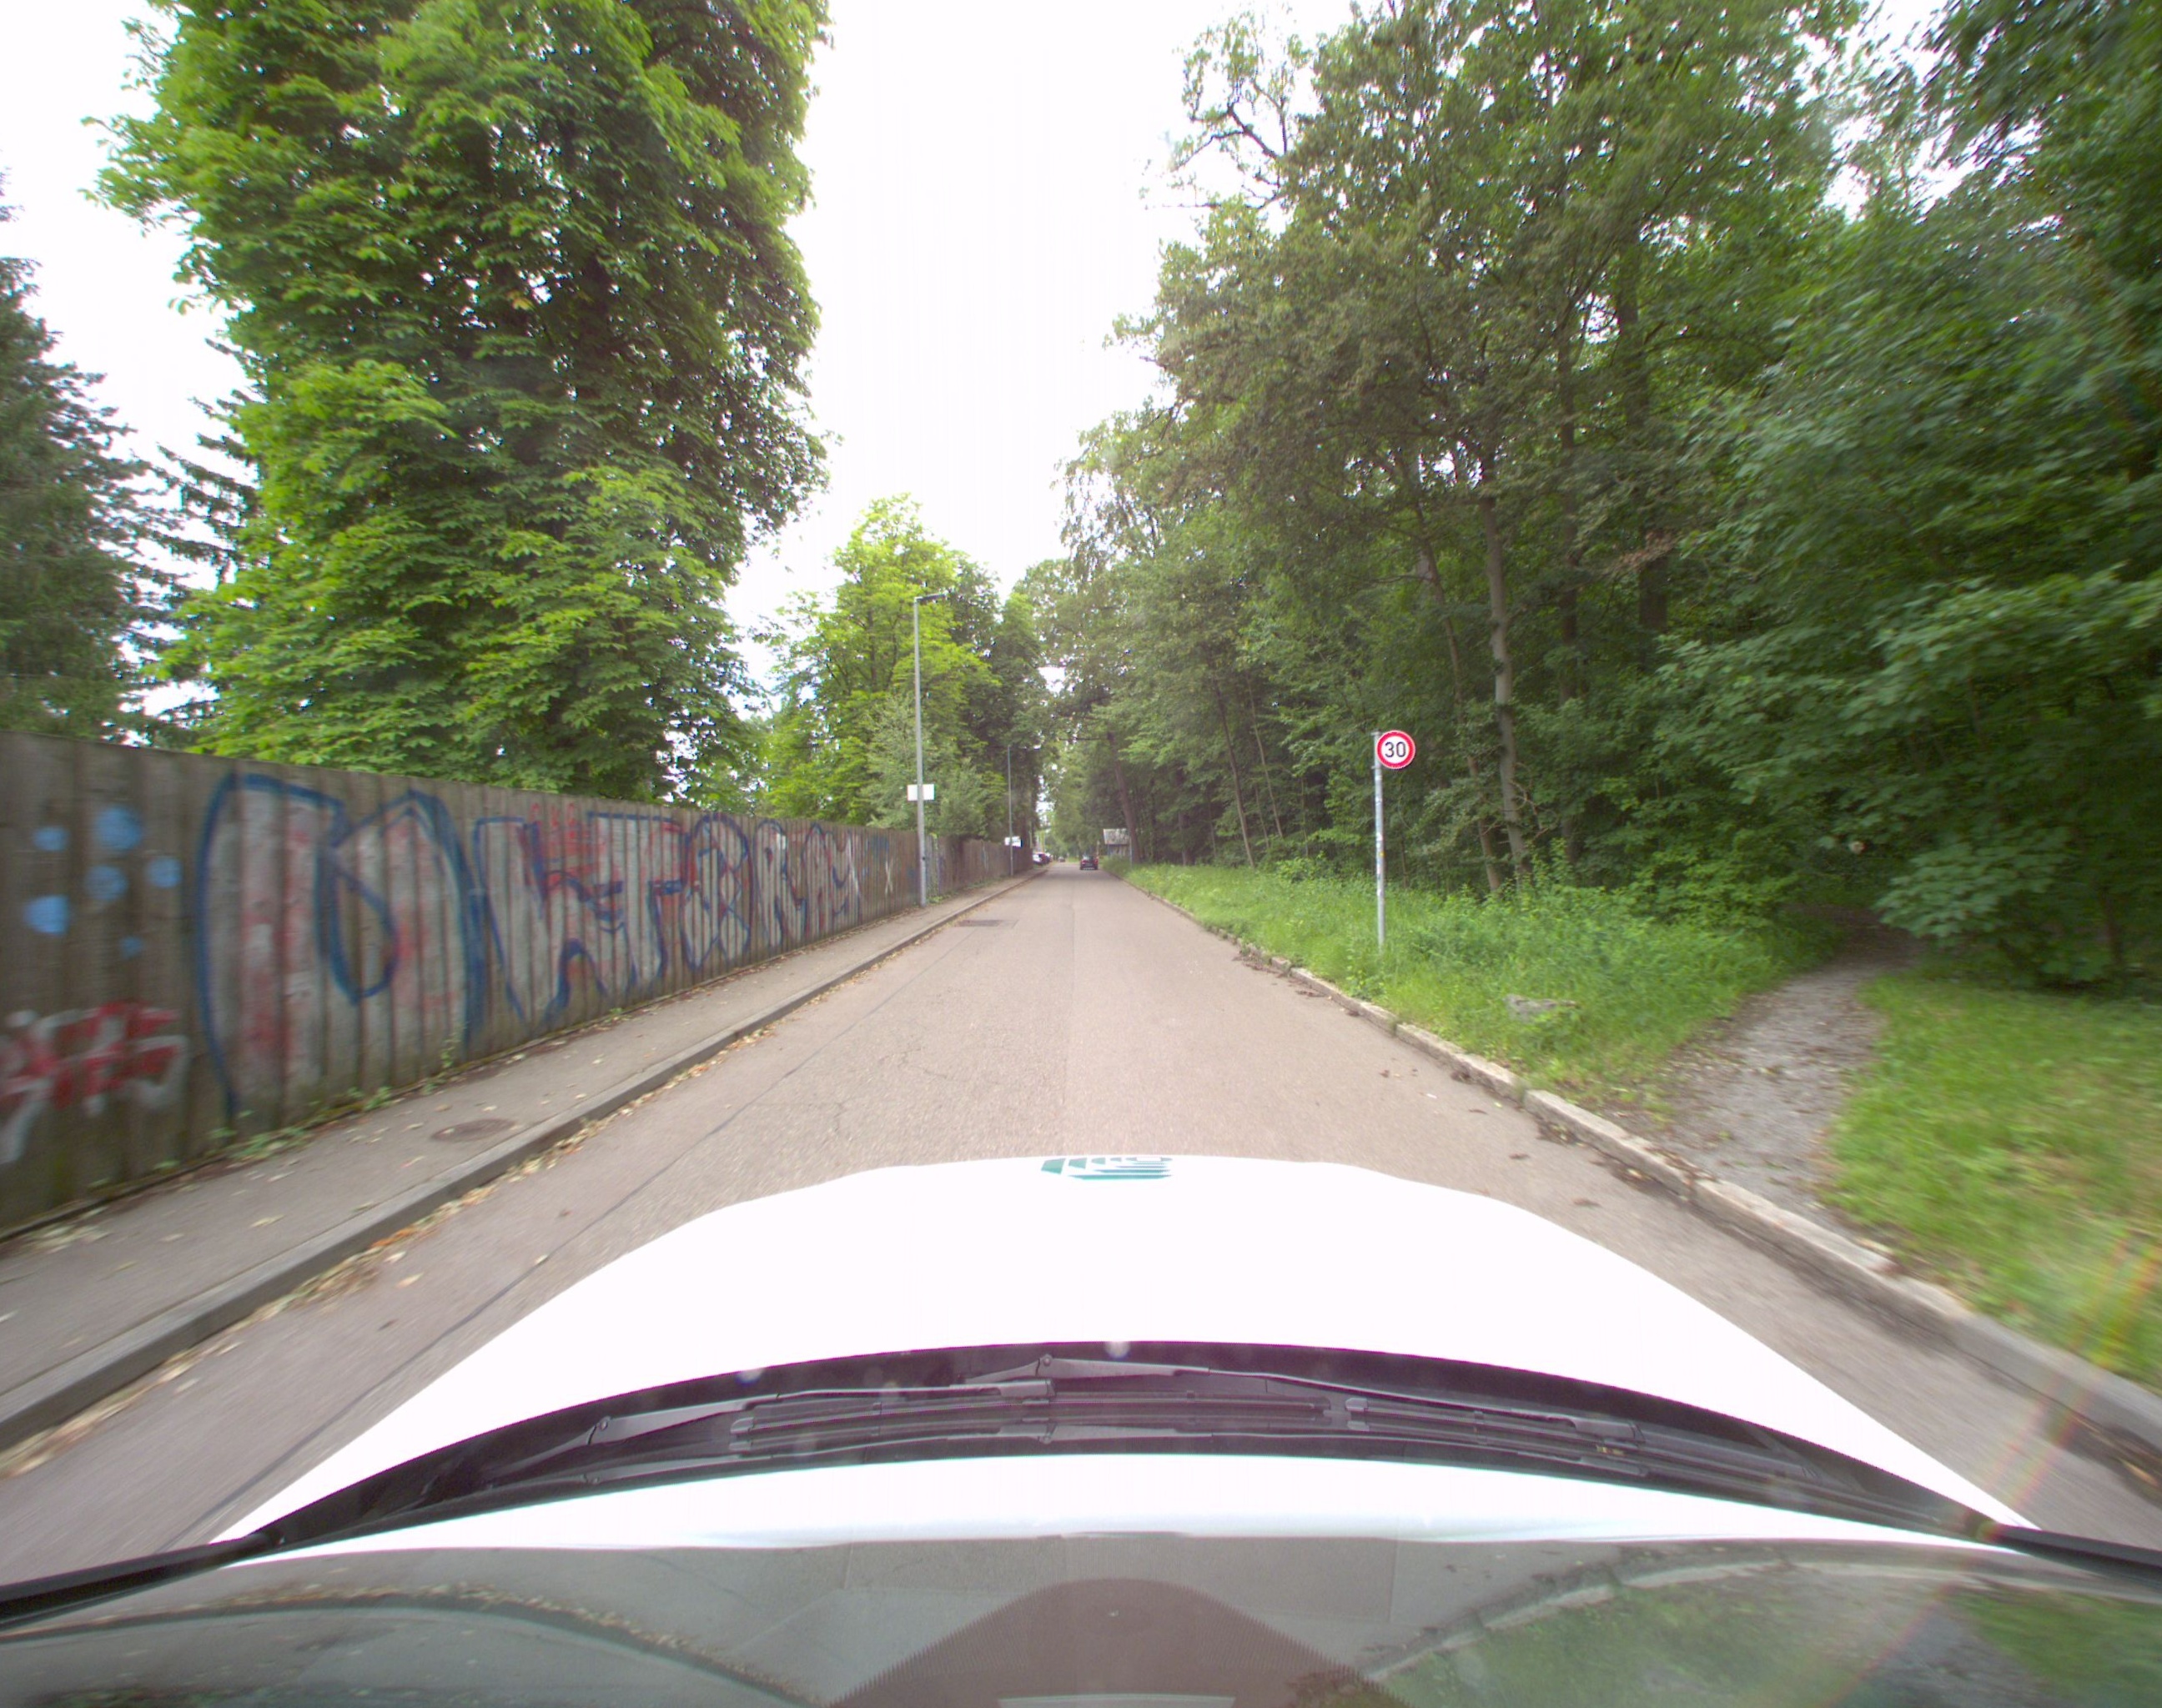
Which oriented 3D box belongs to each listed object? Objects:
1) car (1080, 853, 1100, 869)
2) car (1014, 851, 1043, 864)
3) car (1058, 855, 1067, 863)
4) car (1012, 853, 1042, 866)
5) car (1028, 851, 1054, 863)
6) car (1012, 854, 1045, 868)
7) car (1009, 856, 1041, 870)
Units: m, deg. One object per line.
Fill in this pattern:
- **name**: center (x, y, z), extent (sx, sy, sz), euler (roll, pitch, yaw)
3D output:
- **car**: center (0.848, 0.698, 80.339), extent (1.901, 1.508, 4.000), euler (1, -1, 0)
- **car**: center (-7.326, 0.516, 113.004), extent (3.980, 1.750, 1.997), euler (-2, 0, -5)
- **car**: center (-4.987, 1.341, 217.052), extent (1.991, 2.013, 3.991), euler (-2, 0, -6)
- **car**: center (-7.163, 0.718, 107.953), extent (3.980, 1.574, 1.997), euler (-2, 0, -5)
- **car**: center (-6.447, 0.491, 131.745), extent (3.976, 1.596, 1.764), euler (-3, -1, -2)
- **car**: center (-6.483, 0.876, 100.009), extent (3.980, 1.574, 1.997), euler (-2, 0, -5)
- **car**: center (-7.065, 1.137, 102.323), extent (3.980, 1.574, 1.997), euler (-2, 0, -5)
